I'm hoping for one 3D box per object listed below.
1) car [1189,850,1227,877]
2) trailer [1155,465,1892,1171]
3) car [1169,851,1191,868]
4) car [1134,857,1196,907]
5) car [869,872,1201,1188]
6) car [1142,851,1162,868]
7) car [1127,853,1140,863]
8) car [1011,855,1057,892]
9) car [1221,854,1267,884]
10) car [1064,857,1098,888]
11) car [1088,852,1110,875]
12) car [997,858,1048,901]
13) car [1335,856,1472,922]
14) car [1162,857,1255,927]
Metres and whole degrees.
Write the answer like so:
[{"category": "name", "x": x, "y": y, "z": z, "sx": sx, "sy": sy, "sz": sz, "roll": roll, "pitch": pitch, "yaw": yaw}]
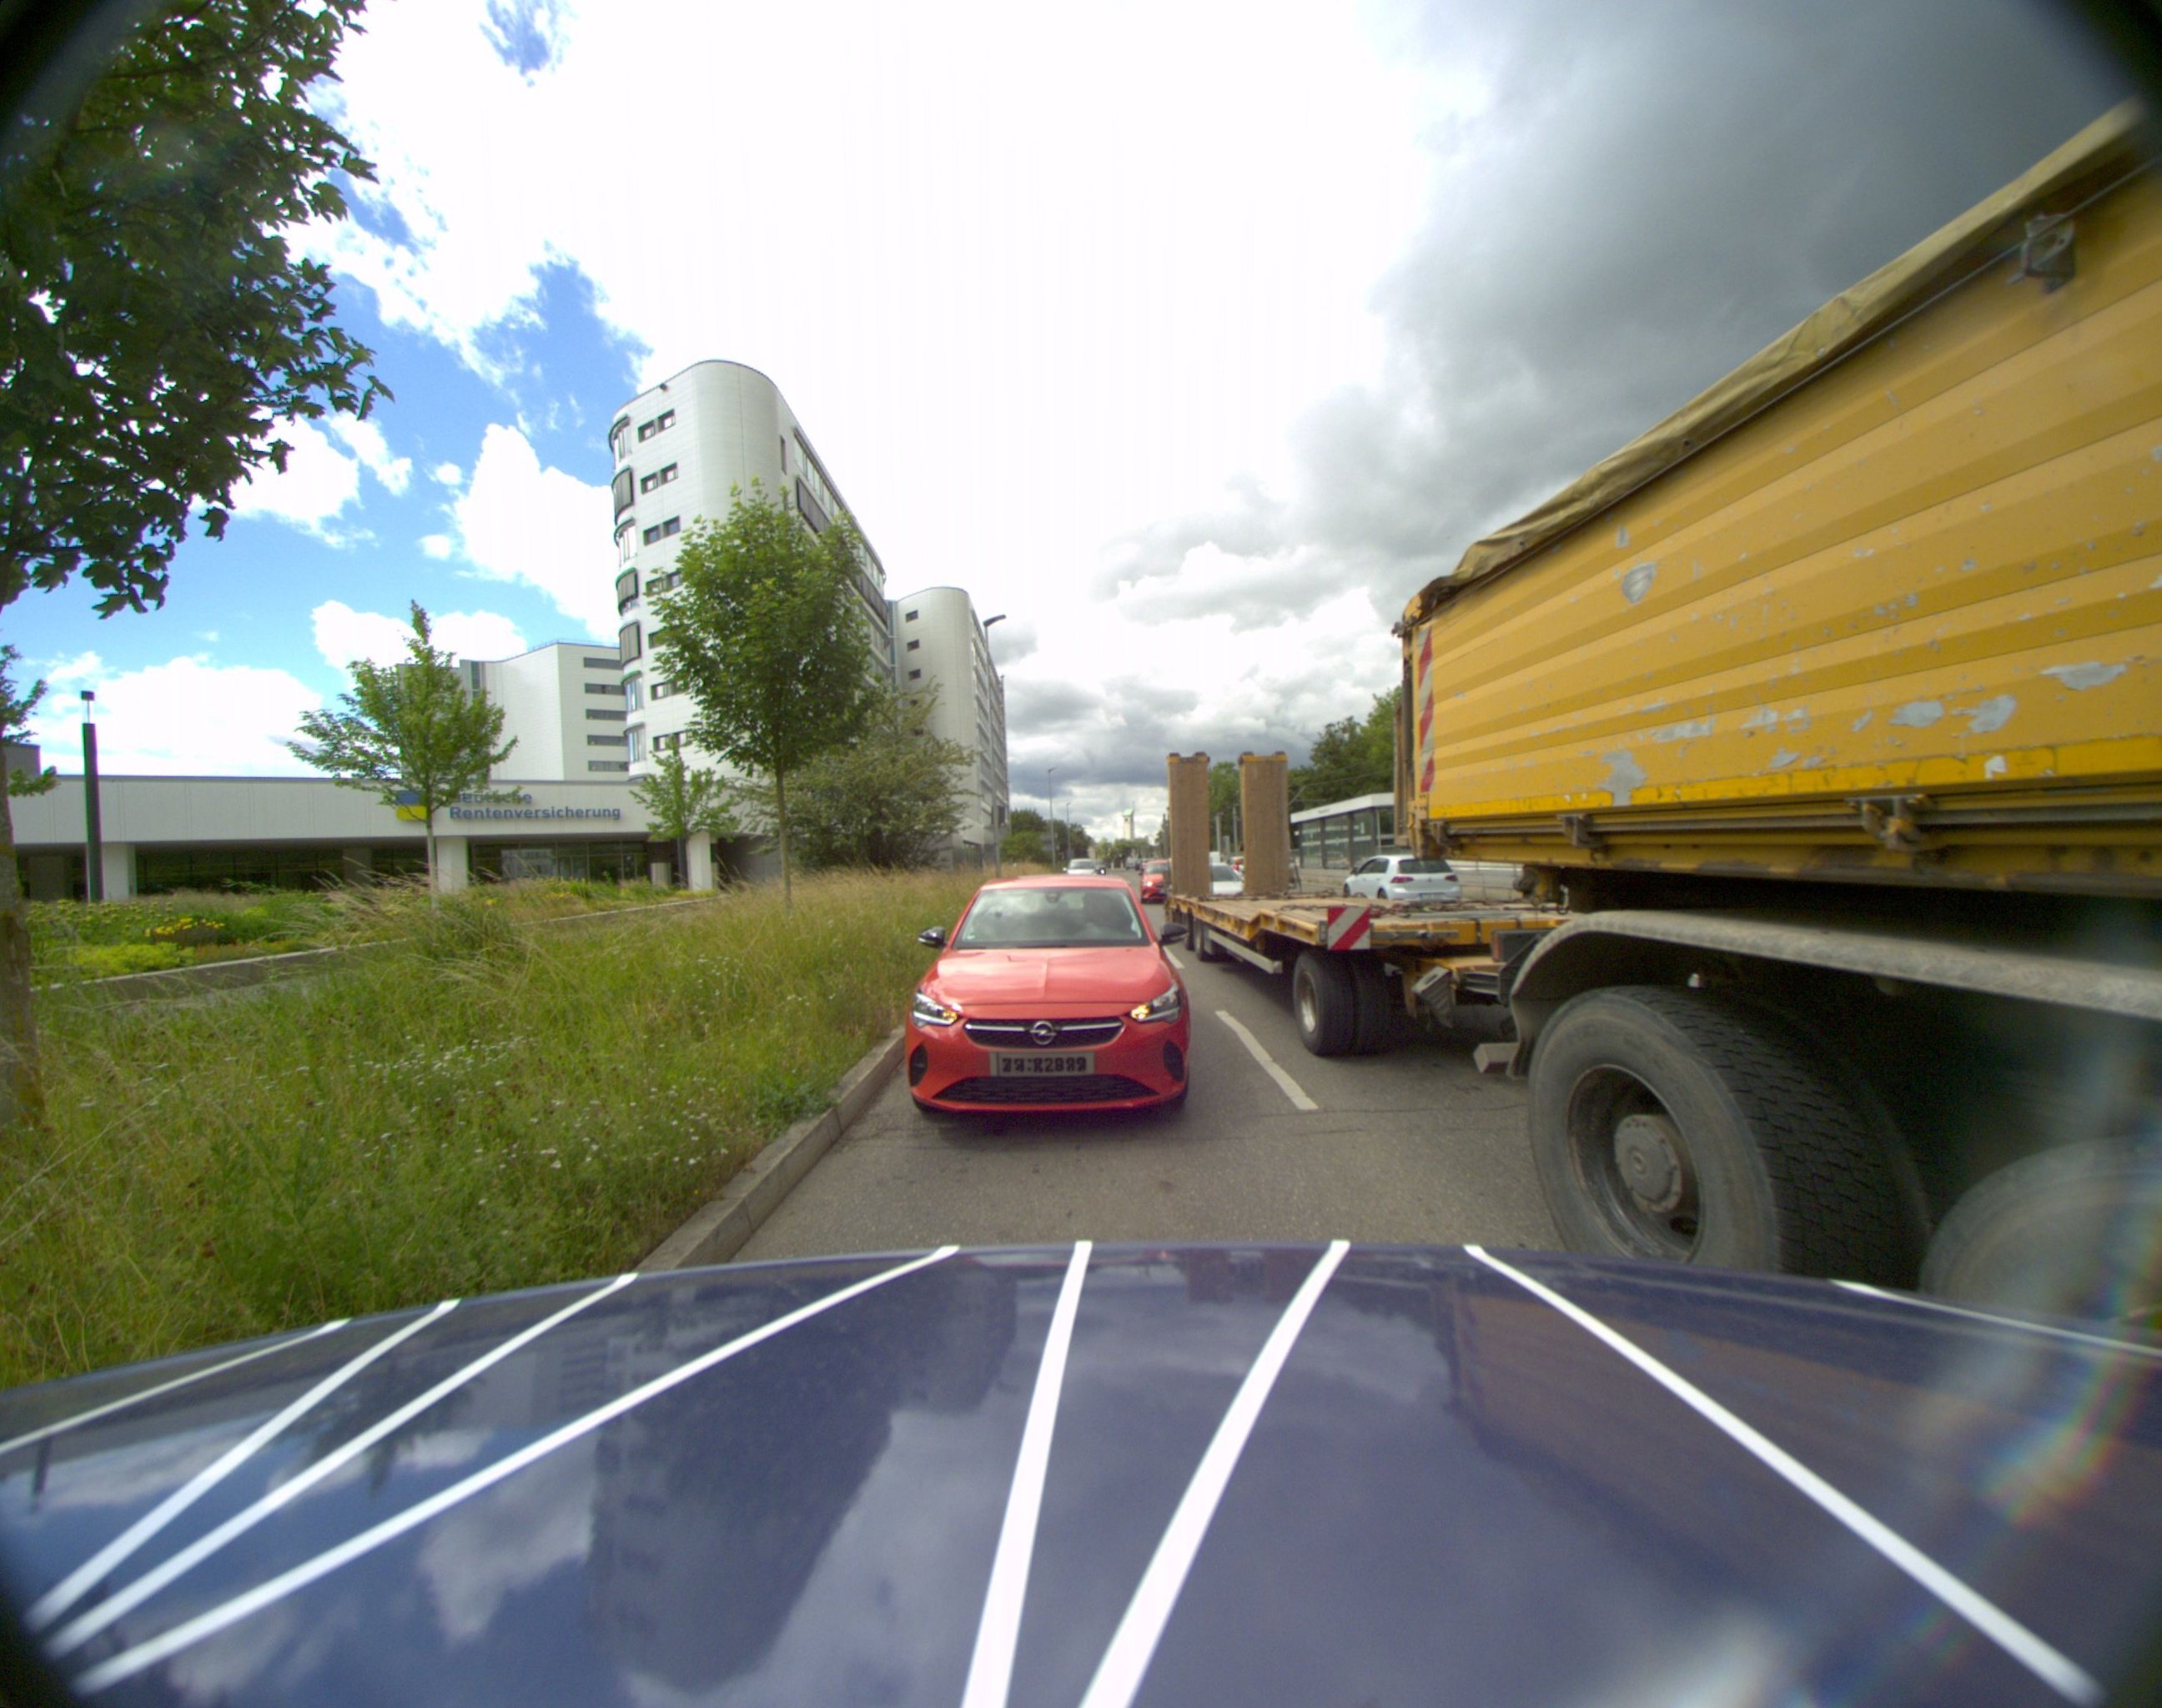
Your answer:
[{"category": "car", "x": 8.870, "y": 0.664, "z": 53.510, "sx": 1.887, "sy": 1.761, "sz": 4.864, "roll": -2, "pitch": 0, "yaw": 1}, {"category": "trailer", "x": 2.797, "y": -0.172, "z": 9.335, "sx": 2.713, "sy": 3.501, "sz": 10.914, "roll": -2, "pitch": 0, "yaw": 1}, {"category": "car", "x": 9.403, "y": 0.527, "z": 72.551, "sx": 1.644, "sy": 1.489, "sz": 3.554, "roll": -2, "pitch": 0, "yaw": 1}, {"category": "car", "x": 2.792, "y": 0.908, "z": 26.141, "sx": 1.692, "sy": 1.471, "sz": 3.999, "roll": -2, "pitch": 1, "yaw": 1}, {"category": "car", "x": -0.215, "y": 0.981, "z": 6.009, "sx": 1.692, "sy": 1.471, "sz": 3.999, "roll": -2, "pitch": 1, "yaw": 1}, {"category": "car", "x": 8.695, "y": 0.684, "z": 93.224, "sx": 1.998, "sy": 2.002, "sz": 4.000, "roll": -2, "pitch": 0, "yaw": 1}, {"category": "car", "x": 8.523, "y": 0.673, "z": 123.300, "sx": 1.770, "sy": 1.489, "sz": 3.554, "roll": -2, "pitch": 0, "yaw": 1}, {"category": "car", "x": -2.135, "y": 0.871, "z": 35.526, "sx": 1.850, "sy": 1.565, "sz": 4.623, "roll": -2, "pitch": 0, "yaw": 0}, {"category": "car", "x": 8.625, "y": 0.782, "z": 40.480, "sx": 1.705, "sy": 1.449, "sz": 3.566, "roll": -2, "pitch": 0, "yaw": 1}, {"category": "car", "x": 0.019, "y": 0.982, "z": 42.010, "sx": 1.738, "sy": 1.565, "sz": 3.446, "roll": -2, "pitch": 0, "yaw": 1}, {"category": "car", "x": 1.688, "y": 0.884, "z": 72.274, "sx": 1.998, "sy": 2.002, "sz": 4.000, "roll": -2, "pitch": 0, "yaw": 1}, {"category": "car", "x": -2.306, "y": 0.994, "z": 30.661, "sx": 1.738, "sy": 1.565, "sz": 3.445, "roll": -2, "pitch": 0, "yaw": 0}, {"category": "car", "x": 8.050, "y": 0.801, "z": 19.429, "sx": 1.766, "sy": 1.432, "sz": 4.279, "roll": -2, "pitch": 0, "yaw": 2}, {"category": "car", "x": 3.110, "y": 0.863, "z": 19.267, "sx": 1.692, "sy": 1.471, "sz": 3.999, "roll": -2, "pitch": 1, "yaw": 1}]
